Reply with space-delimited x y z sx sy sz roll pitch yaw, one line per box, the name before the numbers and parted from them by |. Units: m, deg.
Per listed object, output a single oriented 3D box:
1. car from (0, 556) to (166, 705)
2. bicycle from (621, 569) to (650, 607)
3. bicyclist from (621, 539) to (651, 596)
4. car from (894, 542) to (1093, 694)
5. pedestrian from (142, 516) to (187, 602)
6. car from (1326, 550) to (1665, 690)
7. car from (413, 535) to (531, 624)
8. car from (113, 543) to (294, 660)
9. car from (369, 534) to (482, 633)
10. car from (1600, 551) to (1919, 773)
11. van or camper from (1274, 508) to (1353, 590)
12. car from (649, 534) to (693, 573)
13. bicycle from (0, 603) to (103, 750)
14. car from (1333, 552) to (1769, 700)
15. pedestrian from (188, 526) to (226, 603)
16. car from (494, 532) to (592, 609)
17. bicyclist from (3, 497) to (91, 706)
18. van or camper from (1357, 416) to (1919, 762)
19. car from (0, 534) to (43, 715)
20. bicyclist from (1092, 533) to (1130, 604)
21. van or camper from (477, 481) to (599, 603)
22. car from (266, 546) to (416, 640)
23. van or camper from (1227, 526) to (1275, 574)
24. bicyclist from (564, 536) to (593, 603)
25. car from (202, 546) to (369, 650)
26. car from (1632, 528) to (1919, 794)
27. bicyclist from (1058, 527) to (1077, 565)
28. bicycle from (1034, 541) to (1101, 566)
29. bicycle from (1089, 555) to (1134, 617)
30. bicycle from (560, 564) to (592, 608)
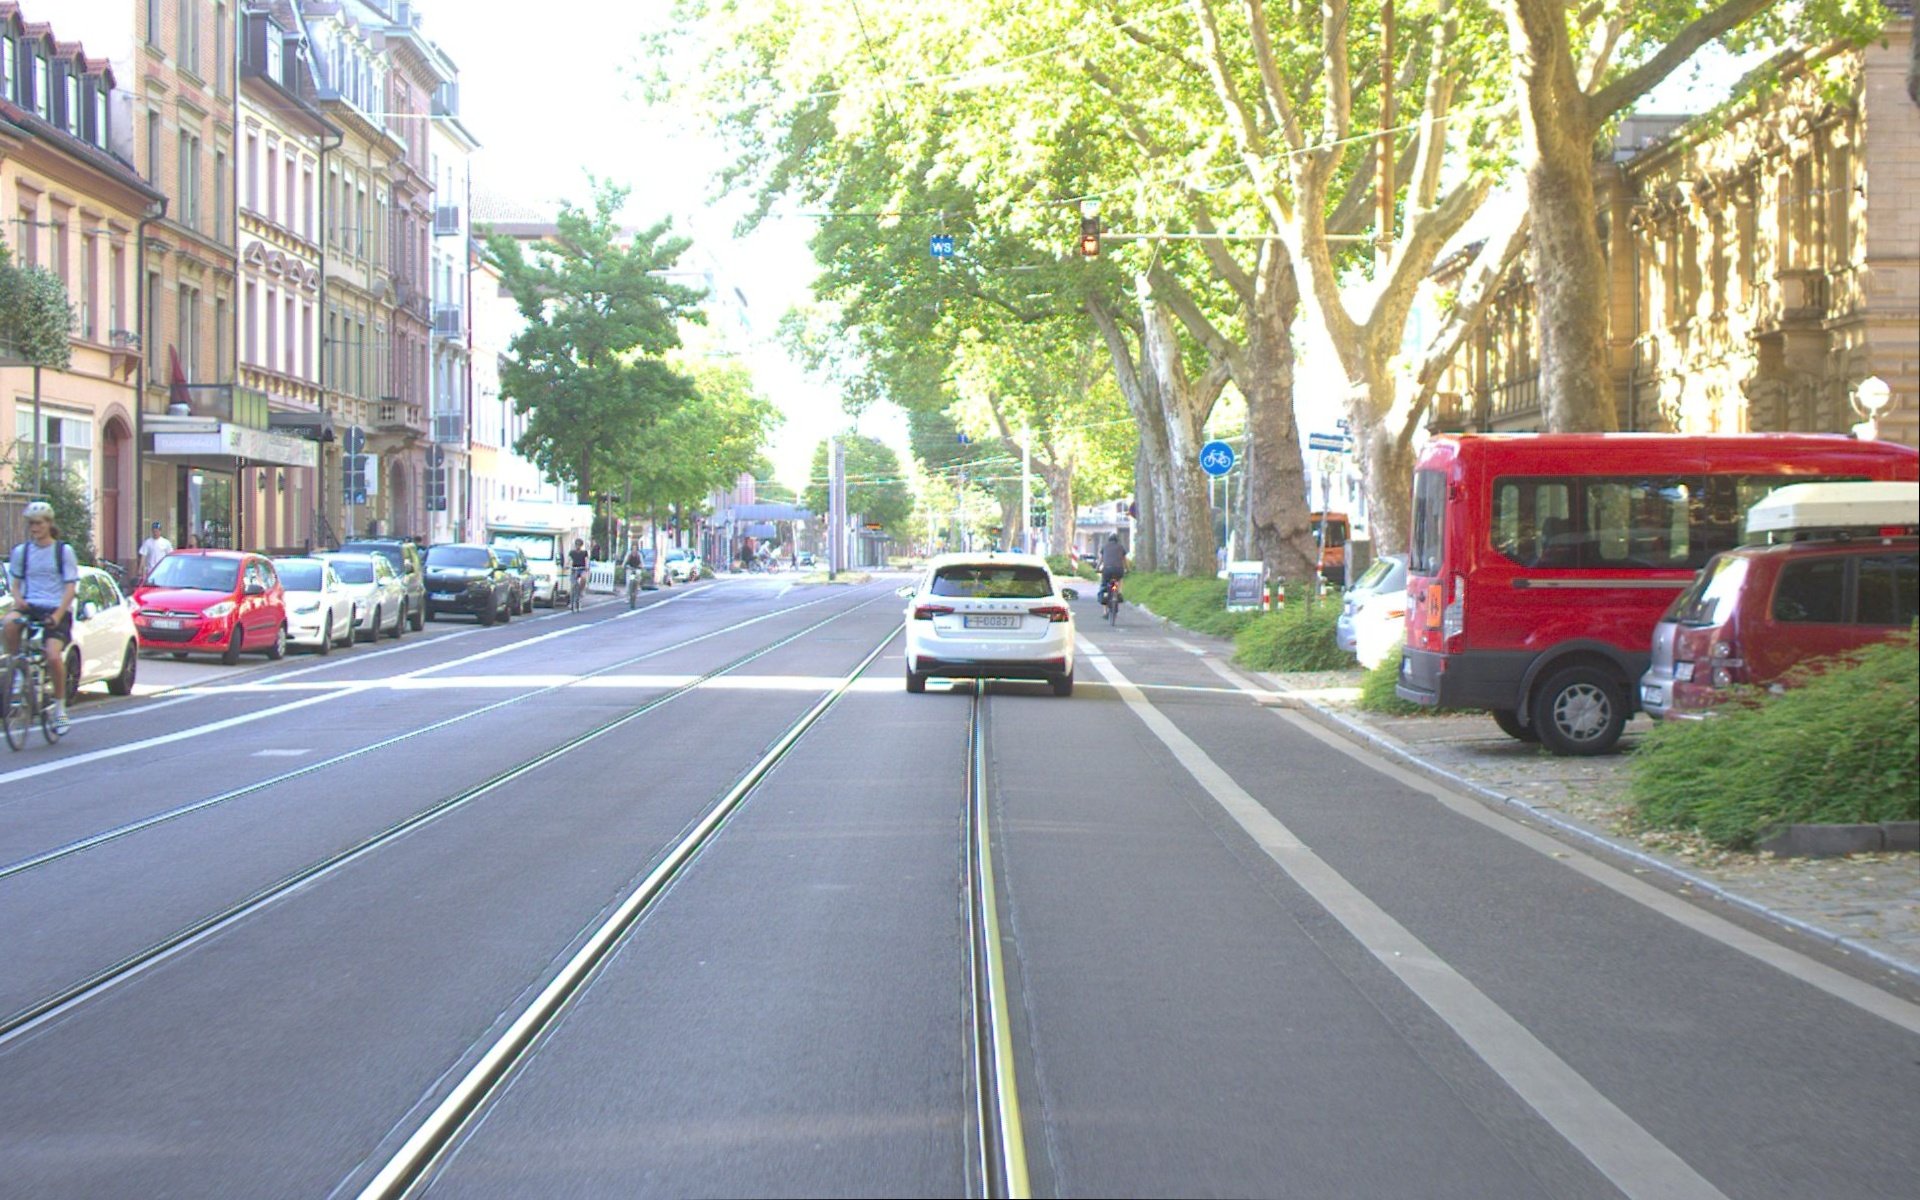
car | -9.985 0.284 37.463 1.687 1.472 4.258 1 1 -1
bicycle | -8.494 -0.324 89.974 0.499 0.940 1.921 -2 1 1
bicyclist | -8.480 -0.852 90.084 0.638 1.498 1.070 -1 1 1
car | 0.296 0.156 35.950 1.842 1.475 3.839 1 1 -3
pedestrian | -15.371 -0.792 66.438 0.771 1.628 0.657 1 1 -16
car | 6.405 0.226 41.387 3.751 1.503 1.681 2 1 0
car | -10.586 -0.468 74.878 1.964 1.775 4.938 3 1 -2
car | -10.459 -0.012 47.723 1.569 1.557 3.448 0 1 3
car | -9.747 -0.318 62.898 1.555 1.726 3.686 1 1 -1
car | 6.768 0.419 25.298 3.733 1.524 1.669 -1 1 -3
van or camper | 10.991 -1.574 107.243 2.027 2.455 5.108 1 1 2
car | -13.141 -2.107 156.388 1.794 1.720 3.785 1 1 -2
bicycle | -7.203 0.579 26.974 0.481 1.082 1.846 0 1 0
car | 6.186 0.252 36.321 4.286 1.412 1.760 -1 1 1
pedestrian | -14.615 -0.690 66.699 0.635 1.455 0.657 1 1 -16
car | -10.085 -0.727 83.391 1.964 1.775 4.471 1 1 -2
bicyclist | -7.209 0.005 27.159 0.473 1.630 0.800 0 1 0
van or camper | 6.261 -0.151 27.323 5.814 2.510 2.288 -2 2 -2
car | -9.936 0.238 32.202 1.856 1.698 4.660 0 1 -6
bicyclist | 2.909 -0.606 66.222 0.679 1.334 0.525 1 0 0
van or camper | -11.340 -1.562 92.869 2.216 3.129 7.113 1 1 1
car | -10.511 -0.145 58.637 1.827 1.497 4.450 1 1 -1
van or camper | 14.635 -2.503 173.004 1.993 2.335 4.000 1 1 0
bicyclist | -9.463 -0.757 85.321 0.535 1.629 0.896 -2 0 1
car | -10.377 -0.065 53.185 1.827 1.497 4.689 1 1 -3
car | 6.563 0.354 22.668 3.818 1.643 1.767 -2 0 -3
bicyclist | 4.572 -2.297 146.065 0.737 1.583 0.586 0 1 12
bicycle | 4.553 -1.972 146.067 2.771 0.996 0.592 2 1 14
bicycle | 2.921 -0.276 66.507 0.680 1.151 2.964 1 1 -1
bicycle | -9.508 -0.362 85.170 0.484 1.044 2.039 -2 1 1
